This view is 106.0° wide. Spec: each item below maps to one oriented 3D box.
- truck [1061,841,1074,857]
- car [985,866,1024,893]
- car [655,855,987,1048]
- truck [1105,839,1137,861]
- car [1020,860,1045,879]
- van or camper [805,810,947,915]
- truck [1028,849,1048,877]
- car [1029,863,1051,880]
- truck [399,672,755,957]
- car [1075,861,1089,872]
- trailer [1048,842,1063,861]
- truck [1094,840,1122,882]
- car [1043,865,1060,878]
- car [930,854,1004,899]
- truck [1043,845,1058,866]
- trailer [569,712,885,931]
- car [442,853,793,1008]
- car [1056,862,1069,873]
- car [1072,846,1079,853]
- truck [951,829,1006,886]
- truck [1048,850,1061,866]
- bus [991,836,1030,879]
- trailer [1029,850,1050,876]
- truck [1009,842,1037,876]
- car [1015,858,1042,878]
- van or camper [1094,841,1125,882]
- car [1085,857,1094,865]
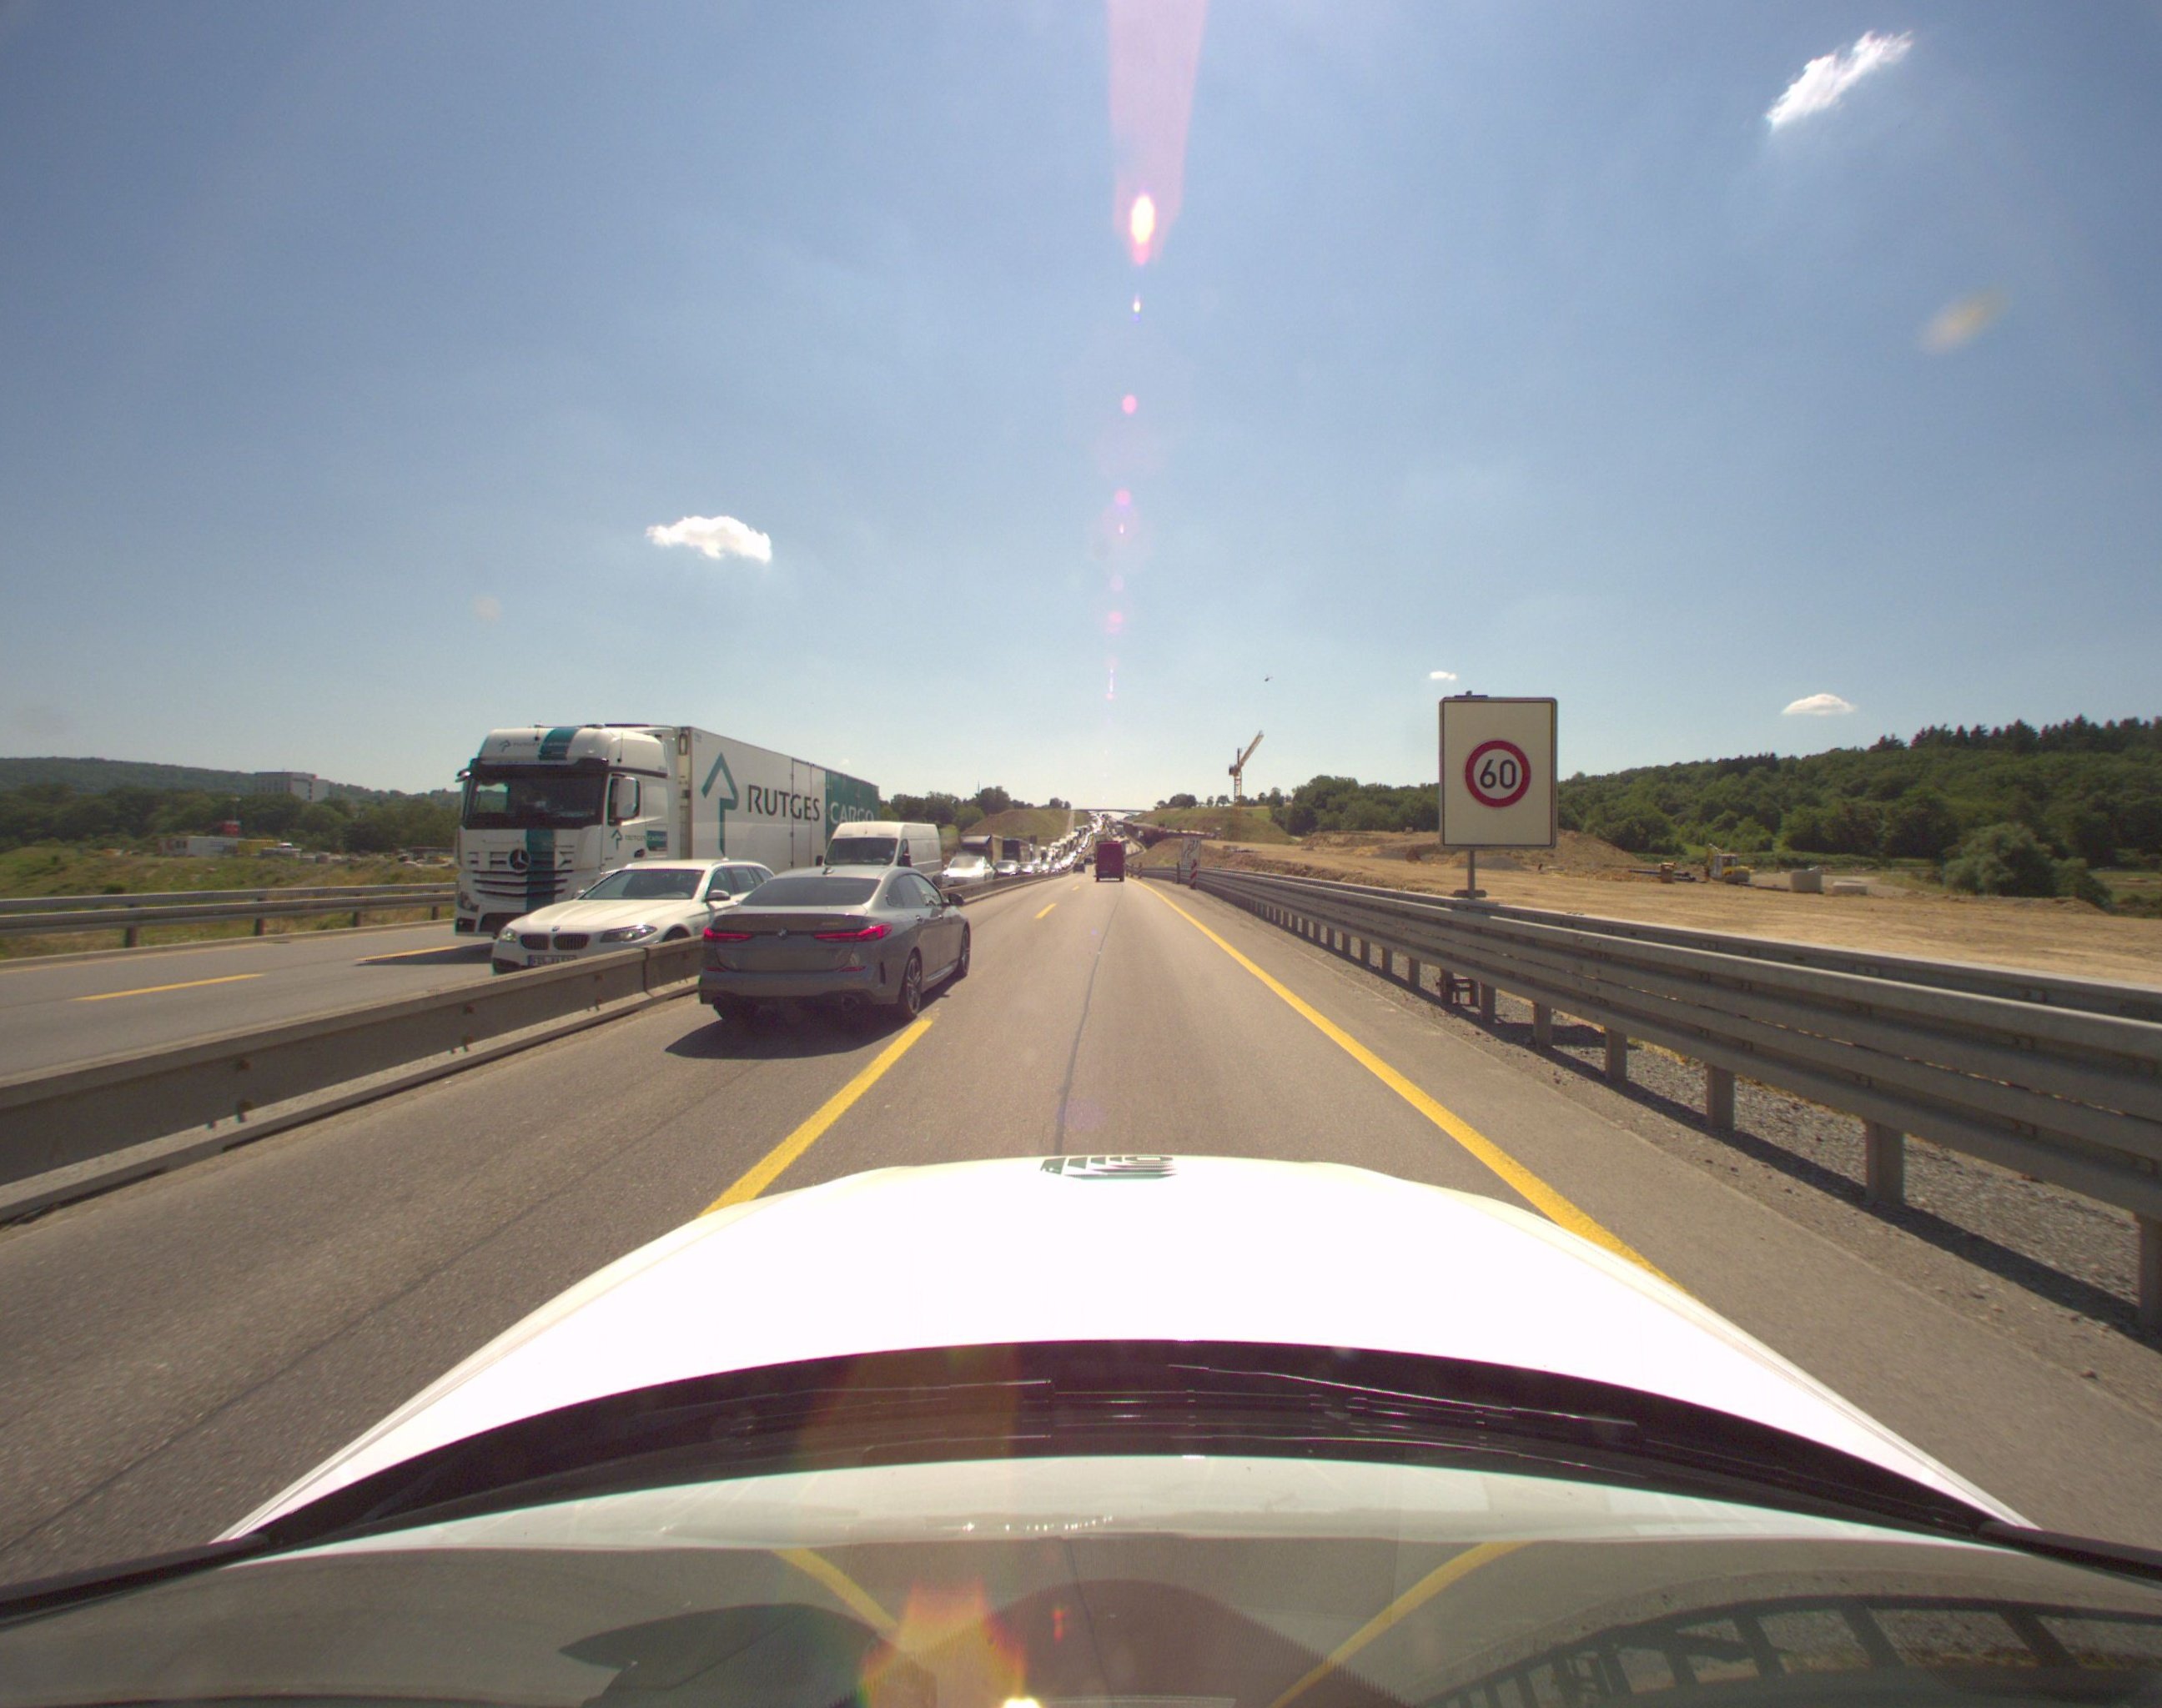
[{"bbox_3d":[-3.797,-1.579,233.657,3.037,4.480,5.990,0,1,6],"label":"truck"},{"bbox_3d":[-4.771,1.569,51.152,1.876,1.432,5.125,1,1,1],"label":"car"},{"bbox_3d":[-2.370,0.779,8.895,1.844,1.452,4.746,1,1,3],"label":"car"},{"bbox_3d":[10.048,-1.030,201.528,5.124,4.996,13.927,2,1,13],"label":"truck"},{"bbox_3d":[-4.259,1.344,72.166,1.832,1.443,4.930,1,1,1],"label":"car"},{"bbox_3d":[-5.516,0.171,23.021,2.211,2.511,6.535,1,1,1],"label":"van or camper"},{"bbox_3d":[-6.683,1.402,128.045,2.969,4.185,5.870,0,0,-2],"label":"truck"},{"bbox_3d":[-4.052,1.714,81.324,1.911,1.423,5.091,1,1,1],"label":"car"},{"bbox_3d":[-9.038,-0.638,15.687,2.796,4.392,6.227,0,0,2],"label":"truck"},{"bbox_3d":[0.120,1.846,123.483,2.006,1.545,4.131,0,0,0],"label":"car"},{"bbox_3d":[-5.673,-0.545,183.414,2.585,4.257,12.471,0,0,1],"label":"trailer"},{"bbox_3d":[3.159,0.759,95.053,3.009,4.692,6.935,-2,0,1],"label":"truck"},{"bbox_3d":[-3.598,2.116,100.566,1.806,1.437,5.120,1,1,0],"label":"car"},{"bbox_3d":[-5.086,0.951,37.275,2.363,1.726,5.783,1,1,1],"label":"car"},{"bbox_3d":[-5.683,0.350,153.887,2.516,3.856,8.670,0,0,0],"label":"truck"},{"bbox_3d":[-8.806,-0.617,23.160,2.804,4.430,13.173,-1,0,2],"label":"trailer"},{"bbox_3d":[-5.626,0.793,10.850,1.989,1.498,4.970,1,1,-3],"label":"car"},{"bbox_3d":[-3.037,2.124,133.277,1.987,1.631,4.757,1,1,0],"label":"car"},{"bbox_3d":[-1.465,-1.197,224.724,1.988,1.782,3.999,1,1,-1],"label":"car"},{"bbox_3d":[-8.017,0.252,65.044,2.792,4.152,10.082,1,0,2],"label":"truck"},{"bbox_3d":[-5.459,0.726,169.306,2.426,3.148,7.022,-1,1,0],"label":"truck"},{"bbox_3d":[-7.433,0.225,88.380,2.730,4.263,14.478,1,1,1],"label":"bus"},{"bbox_3d":[-6.759,1.445,135.313,2.977,4.208,13.940,0,0,-1],"label":"trailer"},{"bbox_3d":[-7.472,0.603,105.294,3.087,4.198,6.701,0,0,0],"label":"truck"},{"bbox_3d":[-4.221,1.126,65.915,1.853,1.494,4.903,-2,-1,0],"label":"car"},{"bbox_3d":[1.958,0.493,57.377,2.023,2.744,4.514,0,0,-1],"label":"van or camper"},{"bbox_3d":[1.793,1.447,170.473,2.005,1.545,4.132,1,1,0],"label":"car"}]
